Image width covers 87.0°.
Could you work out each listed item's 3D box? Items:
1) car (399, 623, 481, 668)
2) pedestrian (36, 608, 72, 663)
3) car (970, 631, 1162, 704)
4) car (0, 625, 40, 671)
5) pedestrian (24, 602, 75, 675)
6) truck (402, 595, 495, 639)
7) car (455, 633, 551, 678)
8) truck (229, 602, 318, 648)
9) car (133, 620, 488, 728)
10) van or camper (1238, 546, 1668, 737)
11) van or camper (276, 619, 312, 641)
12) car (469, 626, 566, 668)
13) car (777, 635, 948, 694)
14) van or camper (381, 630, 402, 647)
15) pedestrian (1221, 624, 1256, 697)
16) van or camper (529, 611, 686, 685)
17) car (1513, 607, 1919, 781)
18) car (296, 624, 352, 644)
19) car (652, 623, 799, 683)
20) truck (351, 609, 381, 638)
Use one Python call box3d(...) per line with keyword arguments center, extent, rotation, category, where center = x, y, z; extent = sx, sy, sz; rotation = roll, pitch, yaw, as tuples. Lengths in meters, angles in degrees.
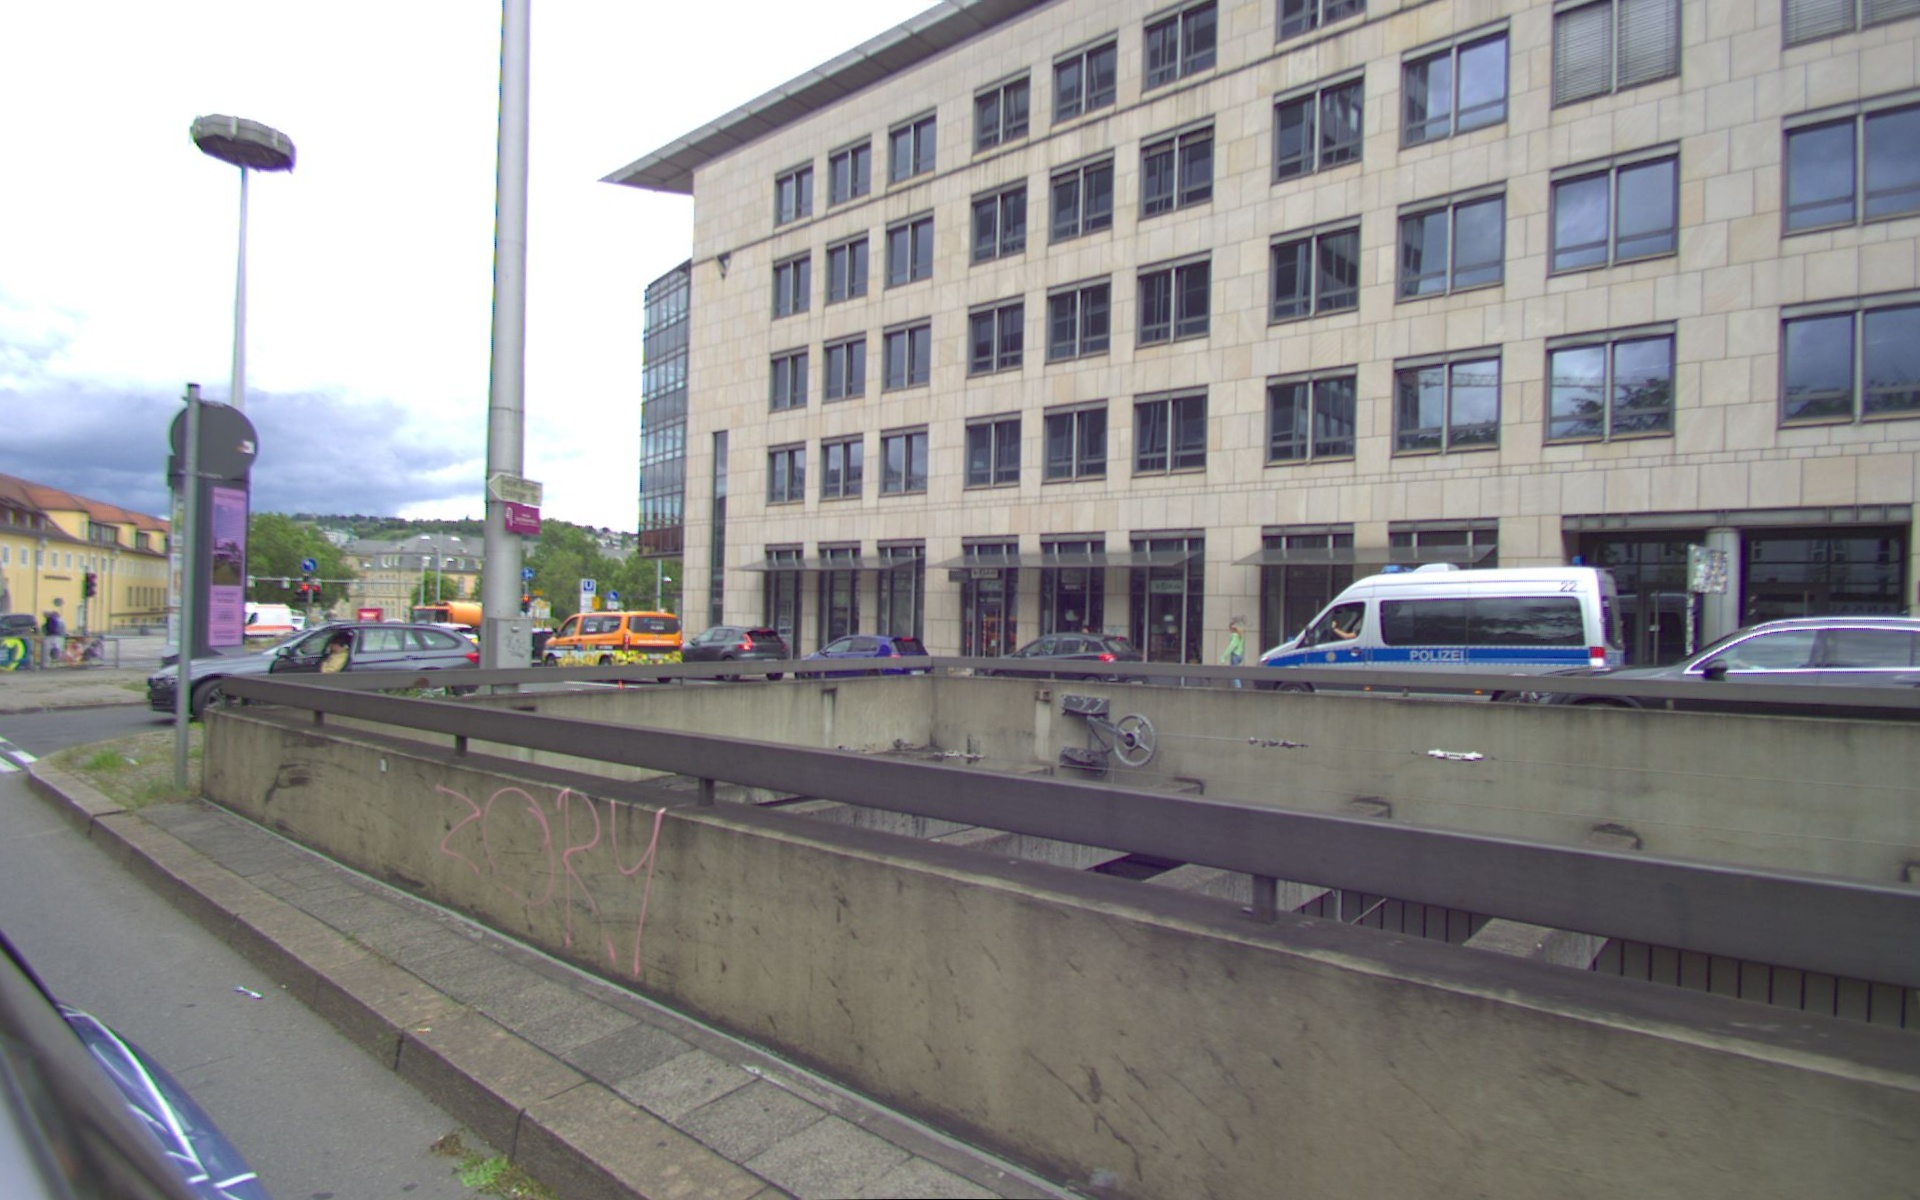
box3d(center=(-19.688, 1.679, 38.229), extent=(1.713, 1.611, 4.325), rotation=(2, -2, -41), category="car")
box3d(center=(-30.512, 1.201, 34.080), extent=(0.634, 1.804, 0.708), rotation=(-3, -7, 41), category="pedestrian")
box3d(center=(2.323, 1.467, 22.756), extent=(4.028, 1.460, 1.750), rotation=(-1, -4, 41), category="car")
box3d(center=(-44.263, 2.181, 45.822), extent=(1.829, 2.003, 4.654), rotation=(2, -2, -15), category="car")
box3d(center=(-27.742, 1.159, 30.837), extent=(0.758, 2.189, 0.872), rotation=(0, -2, 23), category="pedestrian")
box3d(center=(-44.227, 1.486, 87.927), extent=(2.695, 3.643, 9.162), rotation=(0, -1, 6), category="truck")
box3d(center=(-15.140, 1.824, 33.454), extent=(3.632, 1.390, 1.539), rotation=(-1, -4, 43), category="car")
box3d(center=(-43.552, 1.627, 64.418), extent=(1.927, 2.805, 5.793), rotation=(1, -2, -3), category="truck")
box3d(center=(-10.153, 1.075, 16.033), extent=(4.494, 1.469, 1.884), rotation=(2, -2, -41), category="car")
box3d(center=(8.452, 0.676, 17.776), extent=(6.243, 2.747, 2.970), rotation=(-1, -2, 41), category="van or camper")
box3d(center=(-73.091, 3.318, 111.207), extent=(2.334, 2.280, 6.308), rotation=(2, -3, -25), category="van or camper")
box3d(center=(-17.371, 1.813, 39.654), extent=(4.091, 1.537, 1.972), rotation=(-1, -2, 43), category="car")
box3d(center=(-2.656, 1.642, 26.875), extent=(4.572, 1.406, 1.972), rotation=(-1, -2, 42), category="car")
box3d(center=(-65.908, 4.491, 117.328), extent=(1.834, 1.931, 4.729), rotation=(2, -3, -27), category="van or camper")
box3d(center=(6.308, 1.358, 22.921), extent=(0.627, 1.636, 0.494), rotation=(-1, -2, 41), category="pedestrian")
box3d(center=(-10.064, 1.326, 28.676), extent=(5.081, 1.936, 1.893), rotation=(-1, -4, 41), category="van or camper")
box3d(center=(8.318, 0.869, 10.299), extent=(4.532, 1.538, 1.901), rotation=(-1, -2, 36), category="car")
box3d(center=(-52.317, 2.826, 83.269), extent=(3.747, 1.588, 2.005), rotation=(2, -2, -35), category="car")
box3d(center=(-7.173, 1.572, 30.755), extent=(4.681, 1.658, 1.973), rotation=(-1, -4, 41), category="car")
box3d(center=(-76.172, 3.067, 129.860), extent=(2.744, 3.516, 8.376), rotation=(2, -3, -28), category="truck")
